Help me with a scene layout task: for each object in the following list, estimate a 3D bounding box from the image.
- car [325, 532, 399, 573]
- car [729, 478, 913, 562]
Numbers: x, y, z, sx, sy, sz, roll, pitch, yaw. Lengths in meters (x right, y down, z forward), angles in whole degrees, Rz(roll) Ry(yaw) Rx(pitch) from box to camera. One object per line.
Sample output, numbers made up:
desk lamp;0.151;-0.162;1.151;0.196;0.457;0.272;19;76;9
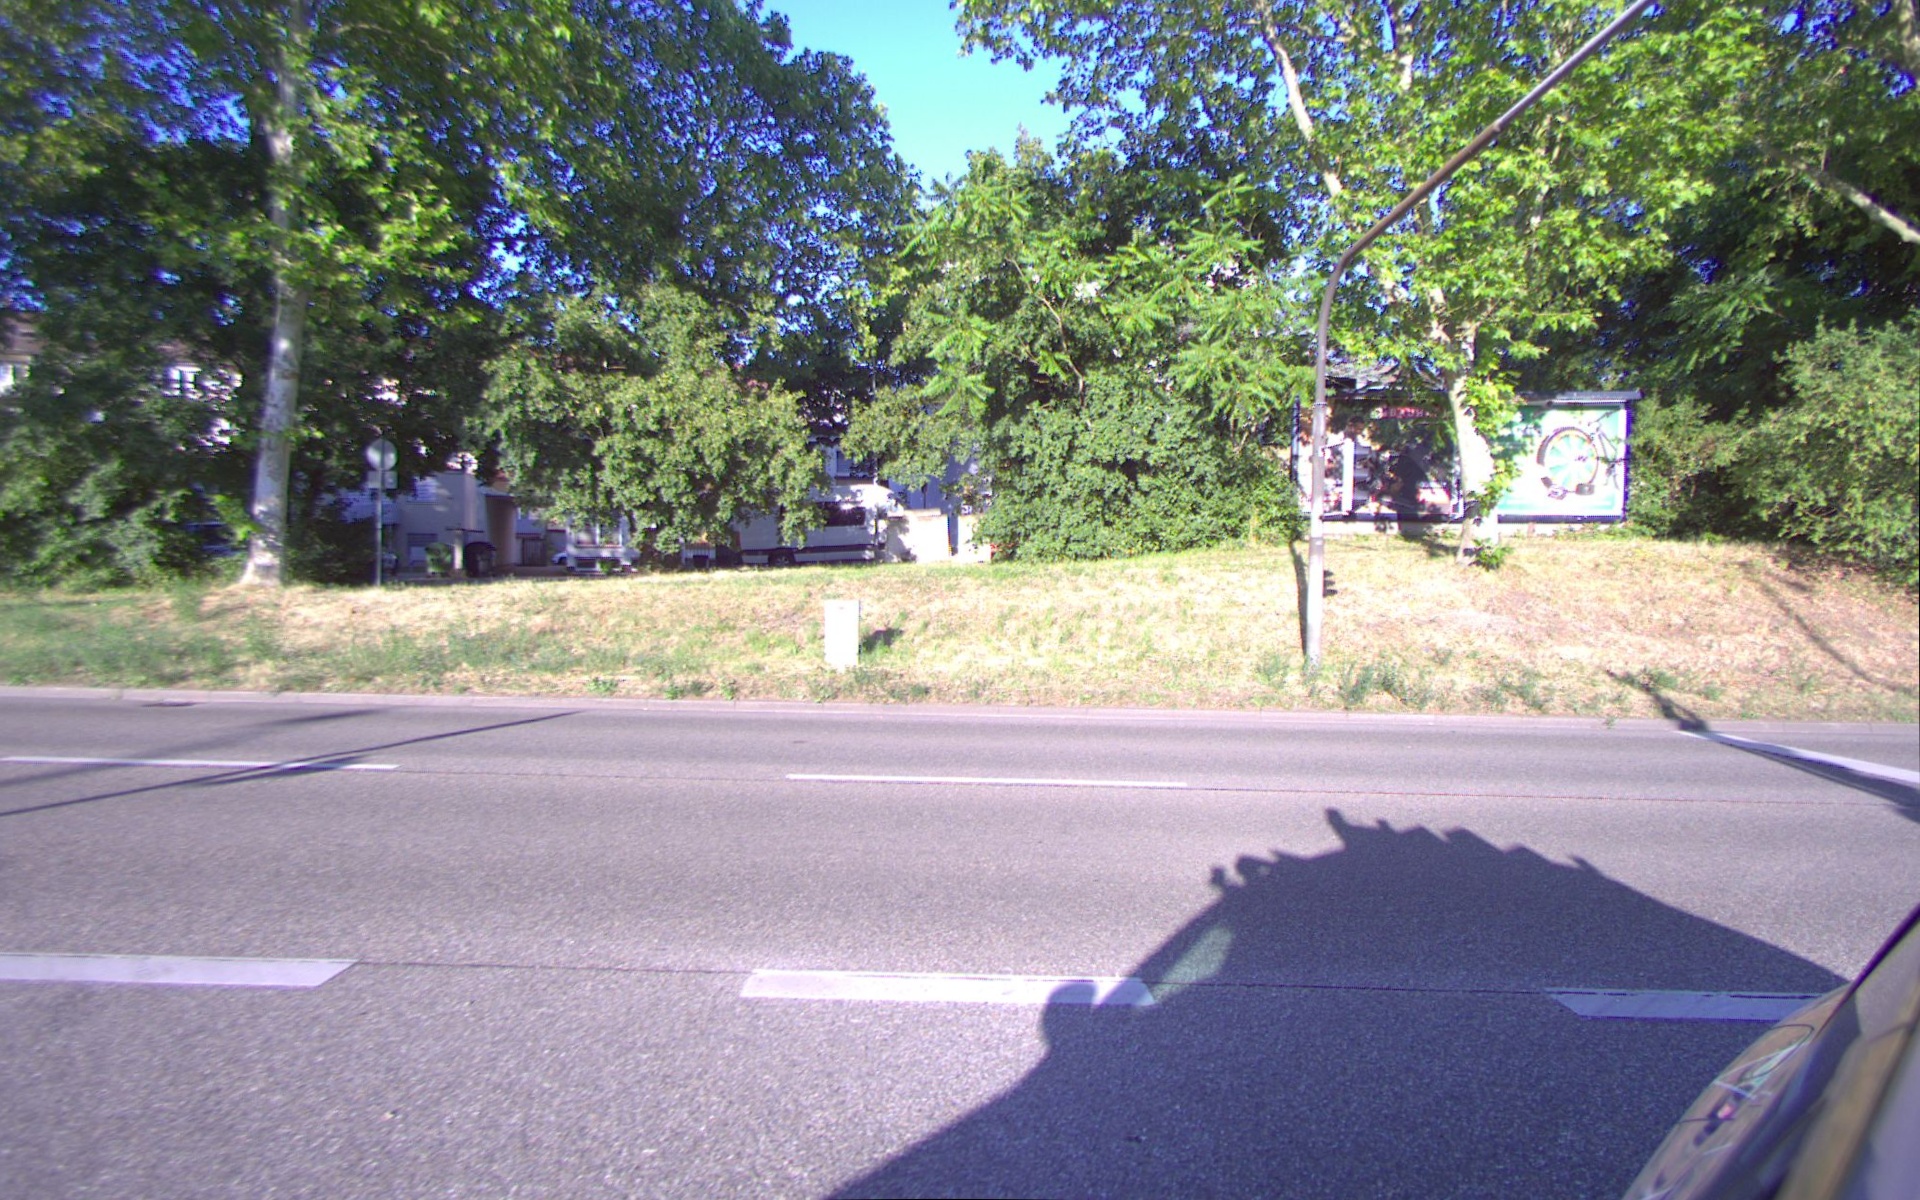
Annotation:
car;-26.466;-2.068;44.933;1.878;1.727;4.009;0;1;-16
car;-4.359;-2.509;32.205;5.528;2.544;1.805;1;1;5
